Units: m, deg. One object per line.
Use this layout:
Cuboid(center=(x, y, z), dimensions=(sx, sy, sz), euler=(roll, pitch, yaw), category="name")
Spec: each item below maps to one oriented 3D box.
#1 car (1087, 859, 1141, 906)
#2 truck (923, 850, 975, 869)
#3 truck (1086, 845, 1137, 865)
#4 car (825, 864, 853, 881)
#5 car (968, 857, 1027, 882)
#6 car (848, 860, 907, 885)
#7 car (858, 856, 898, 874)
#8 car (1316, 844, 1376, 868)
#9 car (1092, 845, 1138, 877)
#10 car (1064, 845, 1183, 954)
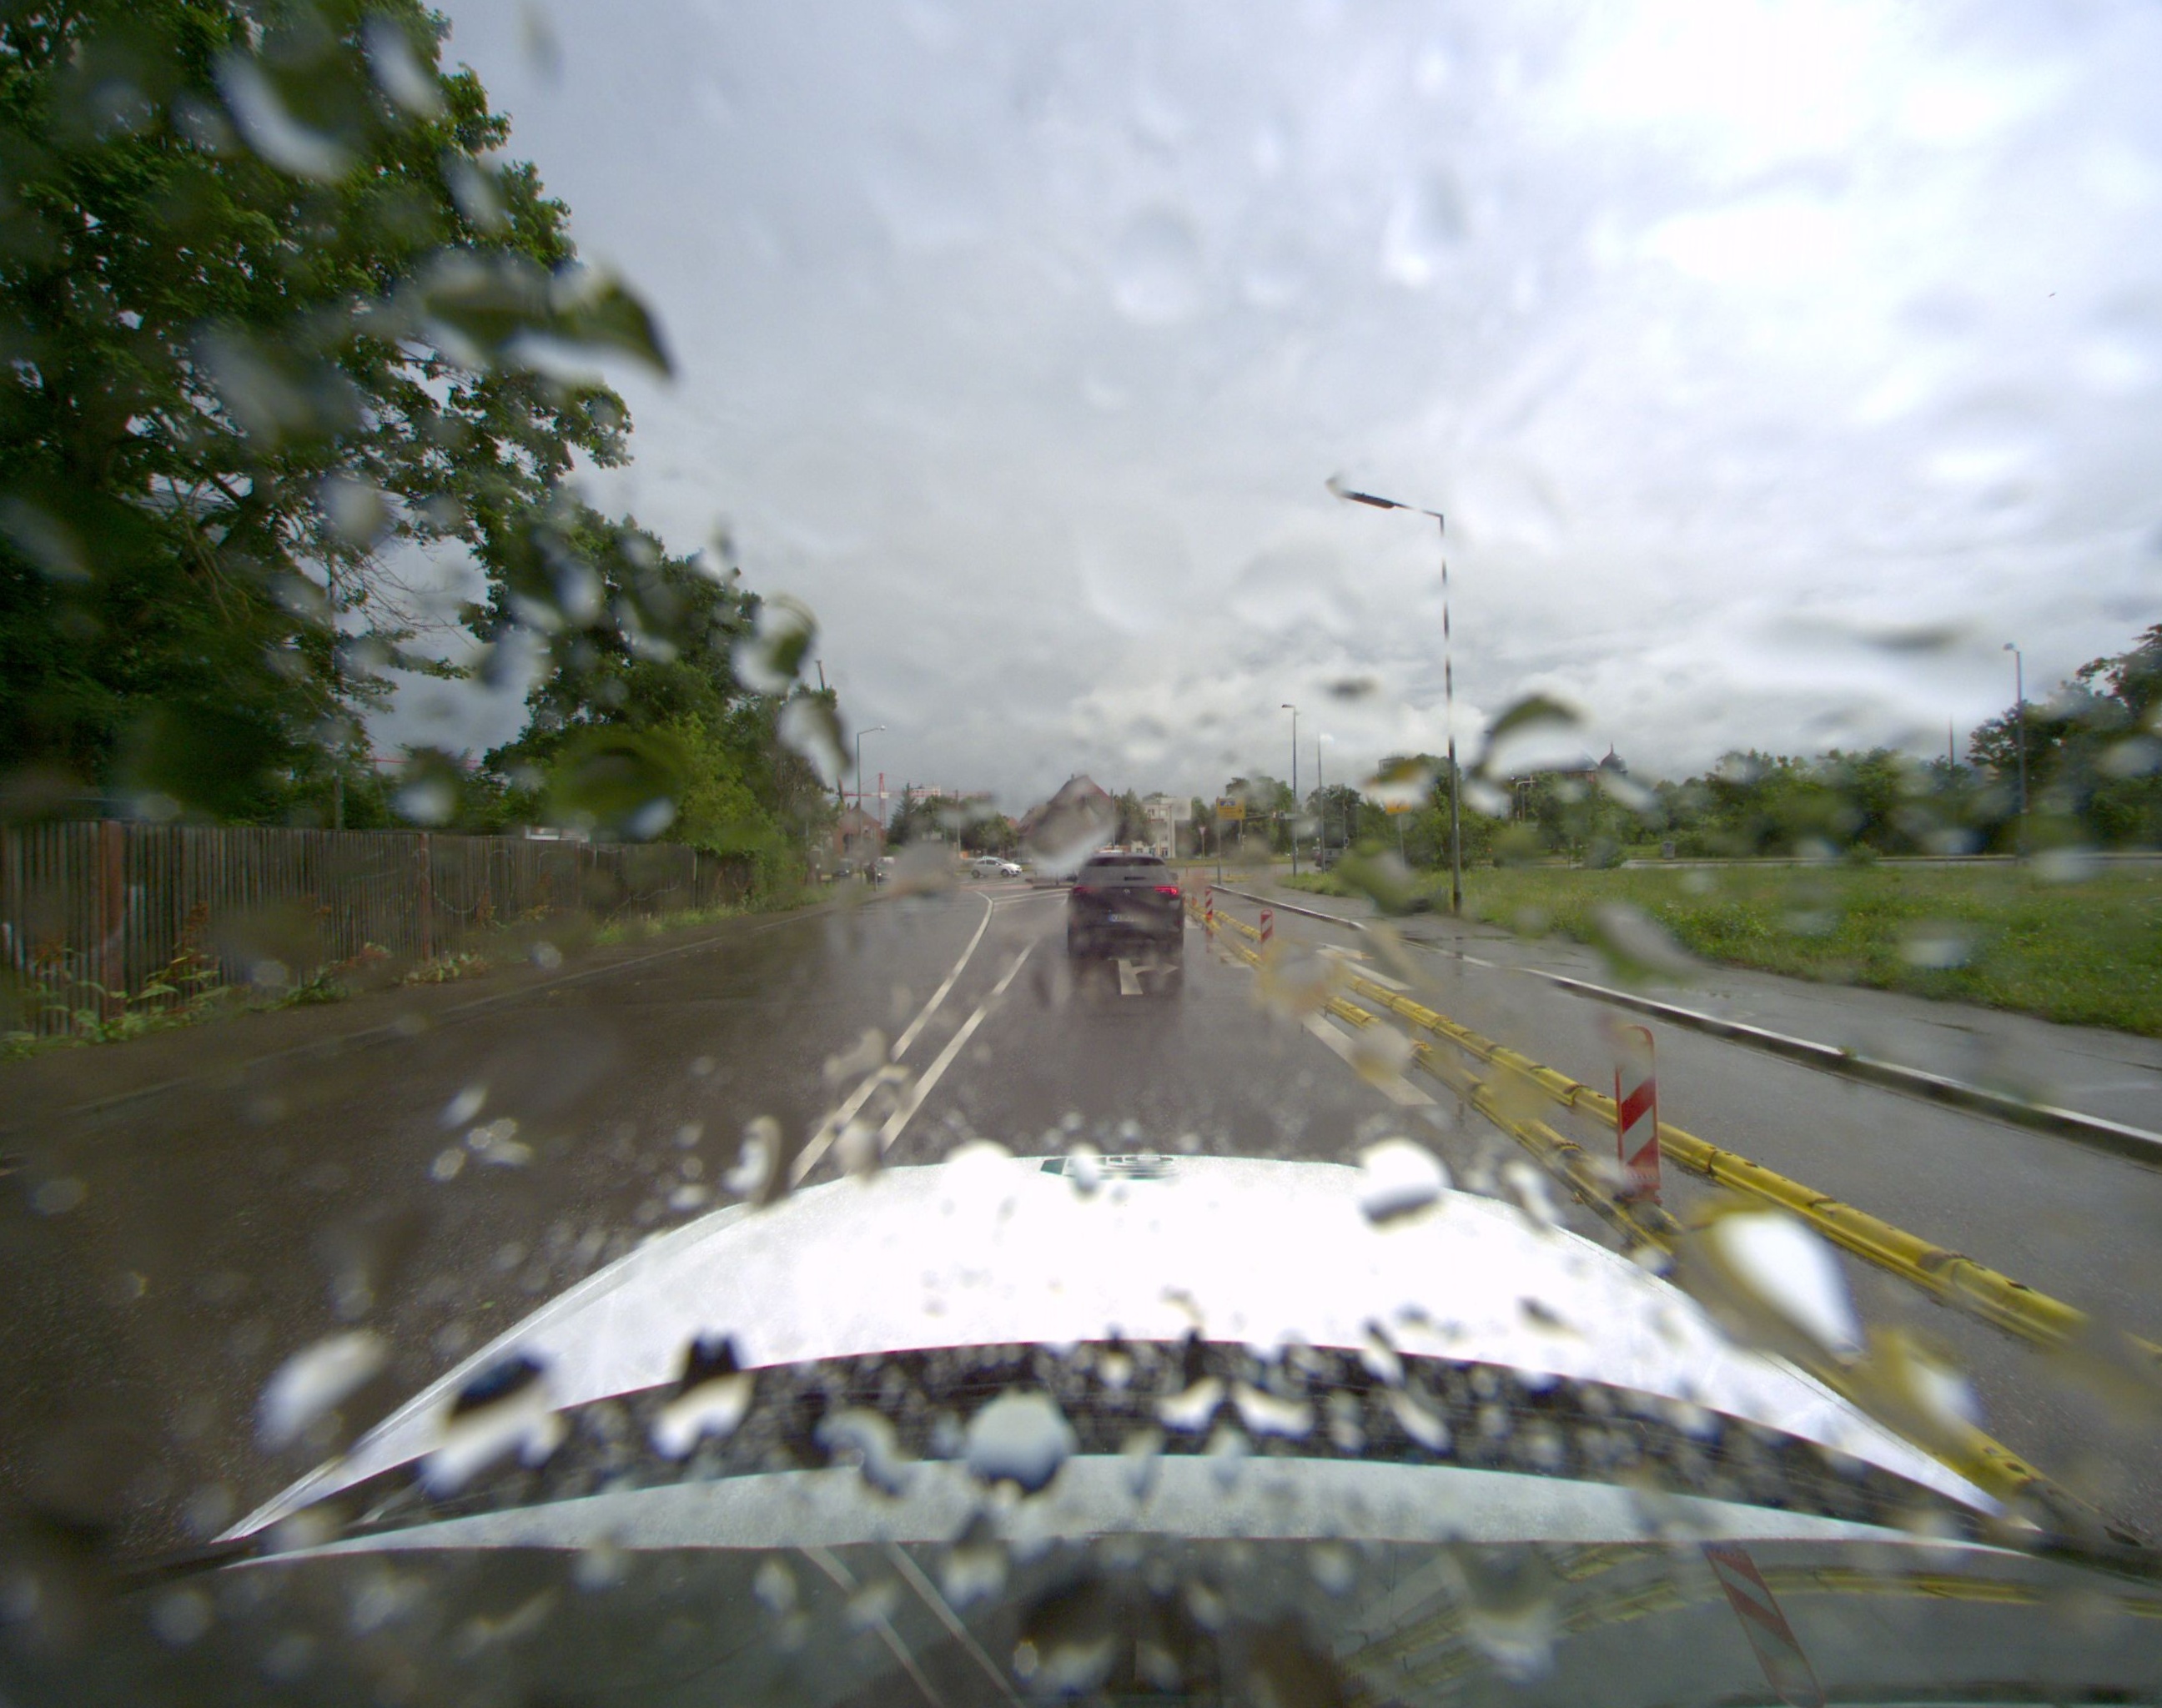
Cuboid(center=(1.133, 0.981, 29.396), dimensions=(1.730, 1.514, 3.602), euler=(-1, 0, -1), category="car")
Cuboid(center=(-18.386, 0.739, 113.463), dimensions=(6.752, 2.442, 2.408), euler=(-2, 0, -35), category="truck")
Cuboid(center=(4.217, 0.106, 113.827), dimensions=(7.040, 2.650, 2.331), euler=(-1, 0, 1), category="truck")
Cuboid(center=(-22.576, 1.712, 75.942), dimensions=(1.884, 1.482, 4.142), euler=(-1, -1, -25), category="car")
Cuboid(center=(-6.365, 1.170, 62.093), dimensions=(3.956, 1.830, 2.009), euler=(-2, 0, 16), category="car")
Cuboid(center=(-14.633, 1.344, 58.563), dimensions=(4.368, 1.552, 1.798), euler=(-4, 0, 40), category="car")
Cuboid(center=(-23.336, 1.229, 94.033), dimensions=(1.872, 1.876, 5.158), euler=(-1, 0, 20), category="car")
Cuboid(center=(19.021, 0.142, 58.588), dimensions=(3.919, 1.644, 1.675), euler=(-1, 0, 8), category="car")
Cuboid(center=(2.076, 0.394, 48.349), dimensions=(1.851, 1.809, 4.420), euler=(-1, 0, 13), category="car")
Cuboid(center=(0.586, 0.675, 13.710), dimensions=(1.704, 1.574, 3.680), euler=(-1, -1, -2), category="car")
